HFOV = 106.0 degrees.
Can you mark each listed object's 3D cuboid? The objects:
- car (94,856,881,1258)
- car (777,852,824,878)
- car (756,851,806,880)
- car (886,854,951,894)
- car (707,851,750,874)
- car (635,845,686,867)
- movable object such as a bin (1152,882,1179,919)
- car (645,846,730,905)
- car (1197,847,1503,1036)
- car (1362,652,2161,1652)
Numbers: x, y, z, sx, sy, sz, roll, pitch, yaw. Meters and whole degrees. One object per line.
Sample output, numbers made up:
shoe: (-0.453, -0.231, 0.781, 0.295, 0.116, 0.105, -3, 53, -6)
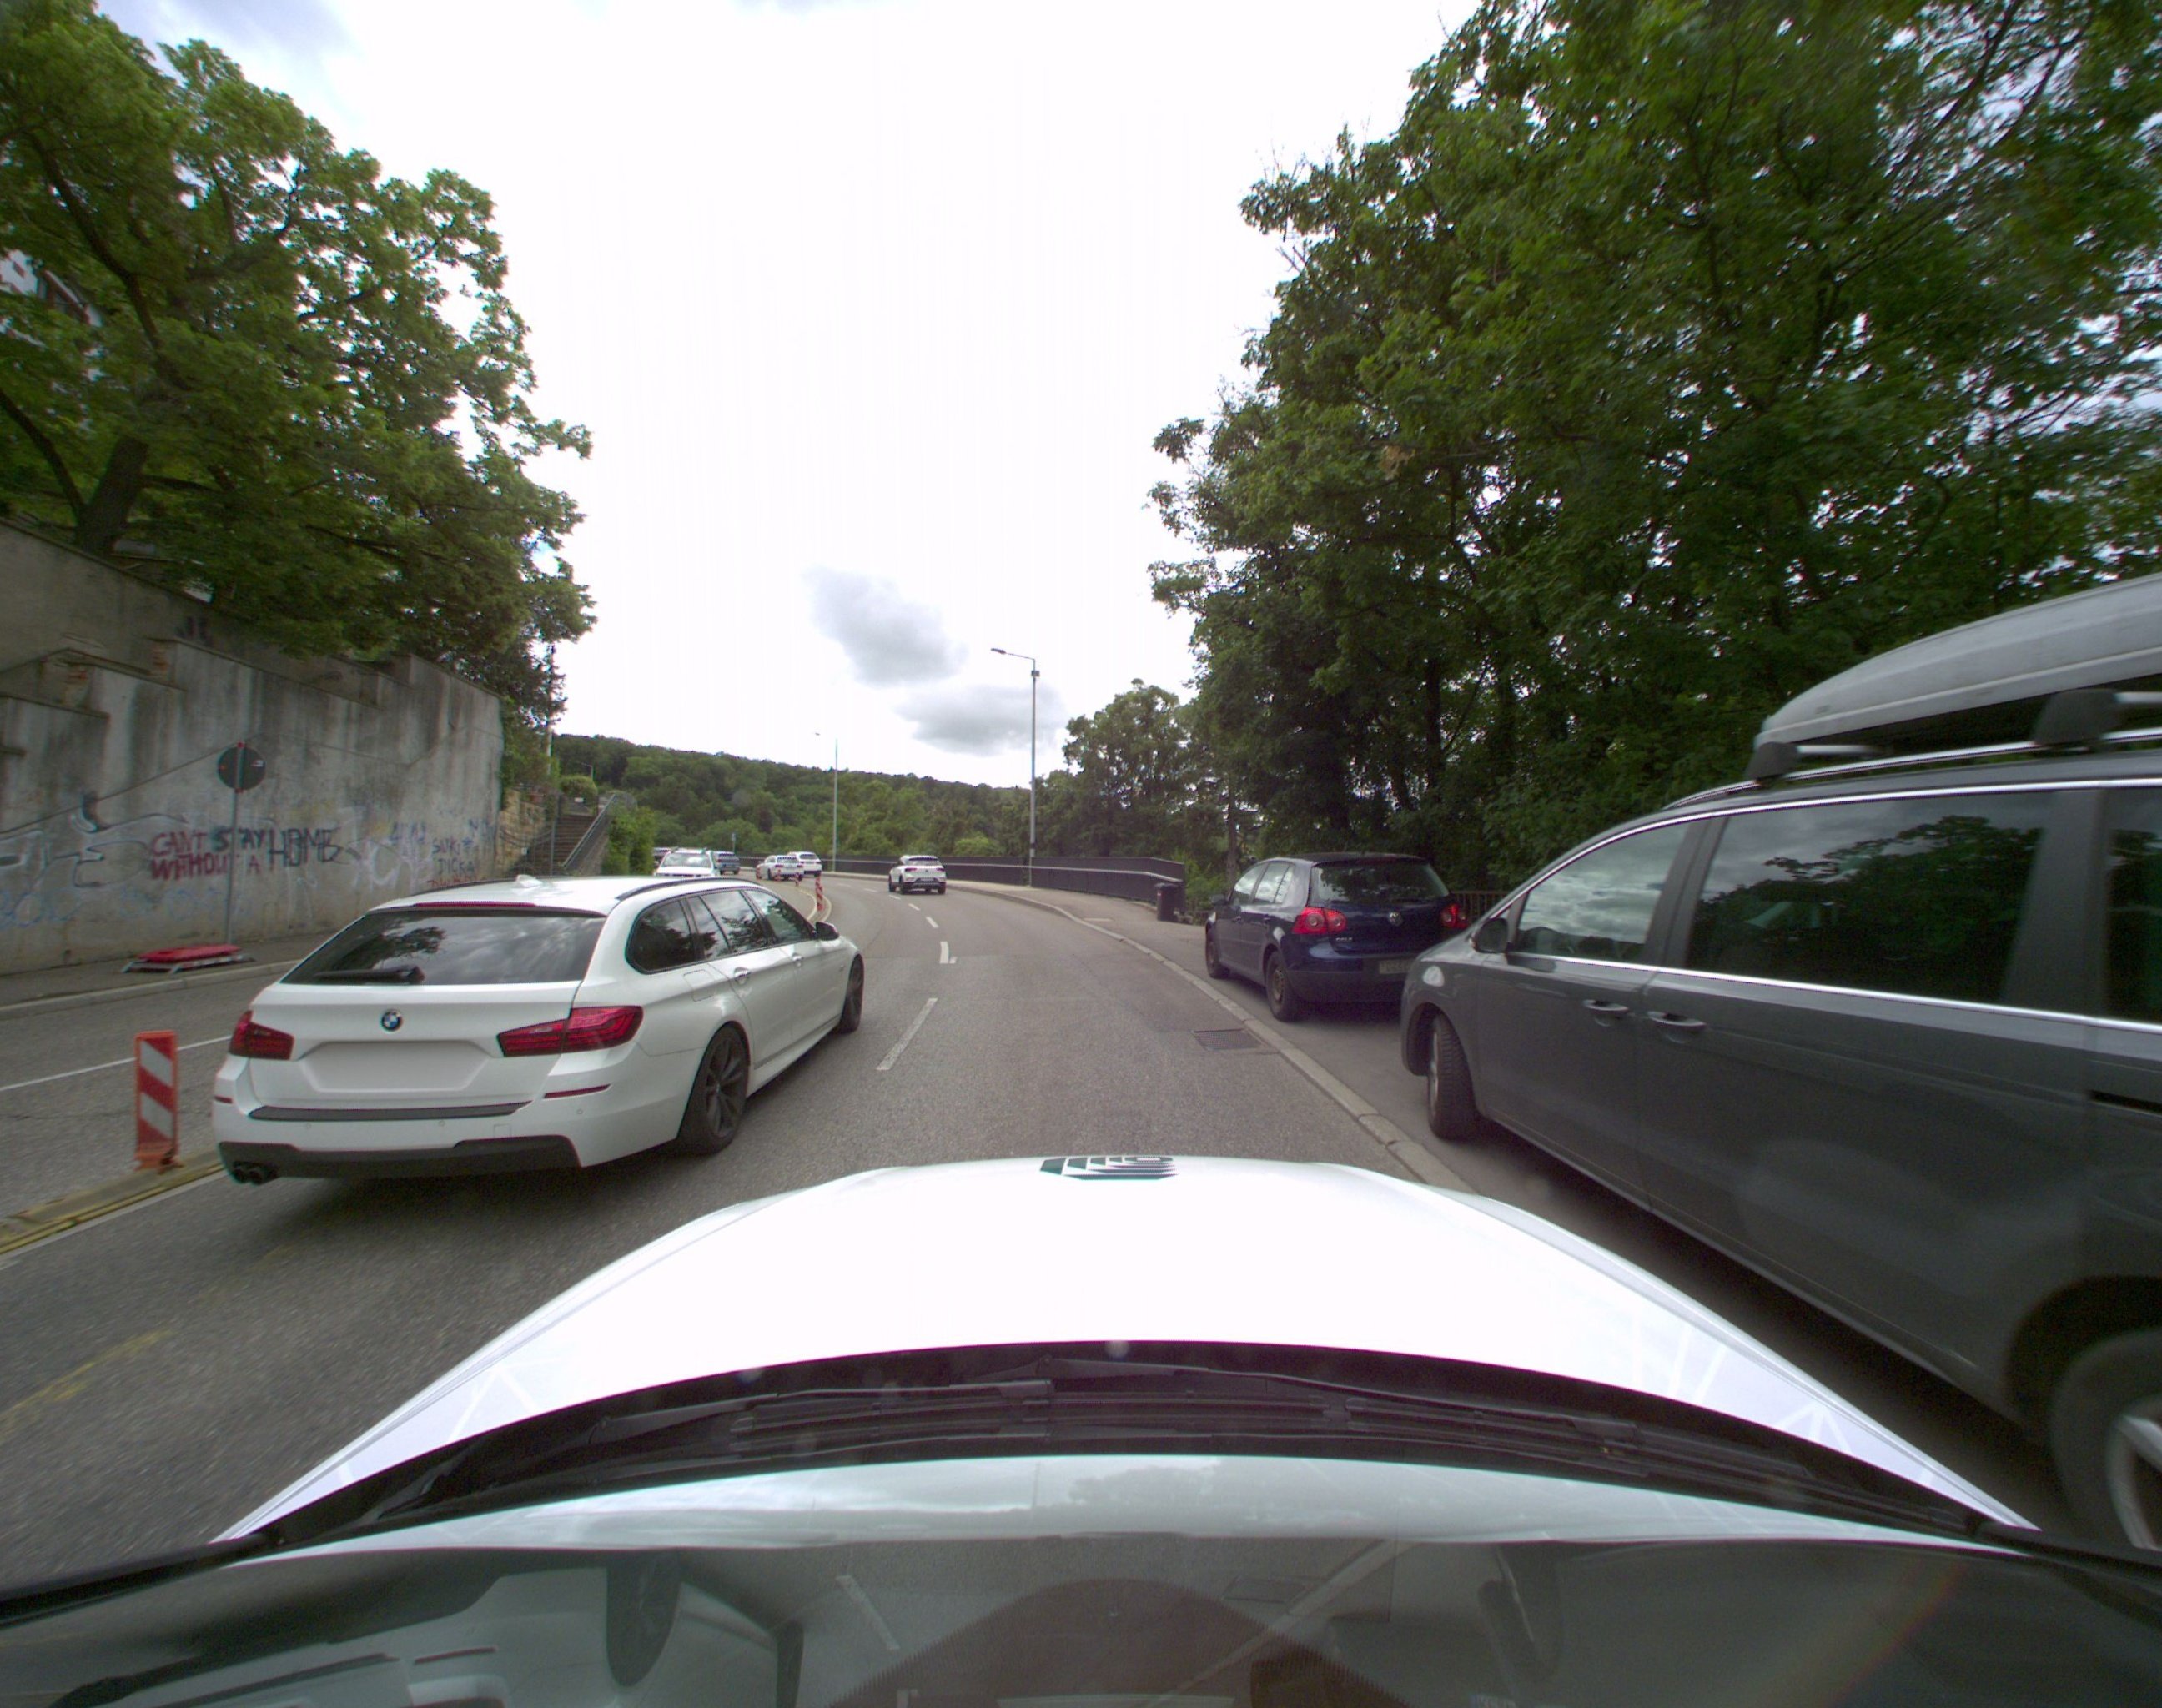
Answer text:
car: (-2.816, 0.786, 5.515, 1.843, 1.467, 4.874, 2, 0, -2)
car: (-18.566, 0.685, 53.864, 2.007, 1.586, 3.959, 2, 0, -33)
car: (-17.537, 0.662, 47.517, 1.919, 1.574, 3.960, 2, 0, -32)
car: (-6.772, 0.796, 33.697, 1.875, 1.536, 3.774, 0, -1, -23)
car: (-24.740, 0.587, 57.127, 2.008, 1.541, 3.967, 2, 0, -35)
car: (-33.572, 0.144, 64.995, 3.949, 1.689, 1.833, 1, 0, 32)
movable object such as a bin: (2.101, 1.162, 20.342, 0.521, 0.881, 0.530, 2, 0, -13)
car: (-13.488, 0.669, 28.204, 1.916, 1.828, 5.274, -1, 0, -18)
car: (2.442, 0.696, 8.509, 1.656, 1.487, 4.029, 0, 0, -4)
car: (2.752, 0.532, 2.828, 1.794, 1.772, 4.602, 0, 0, -3)
